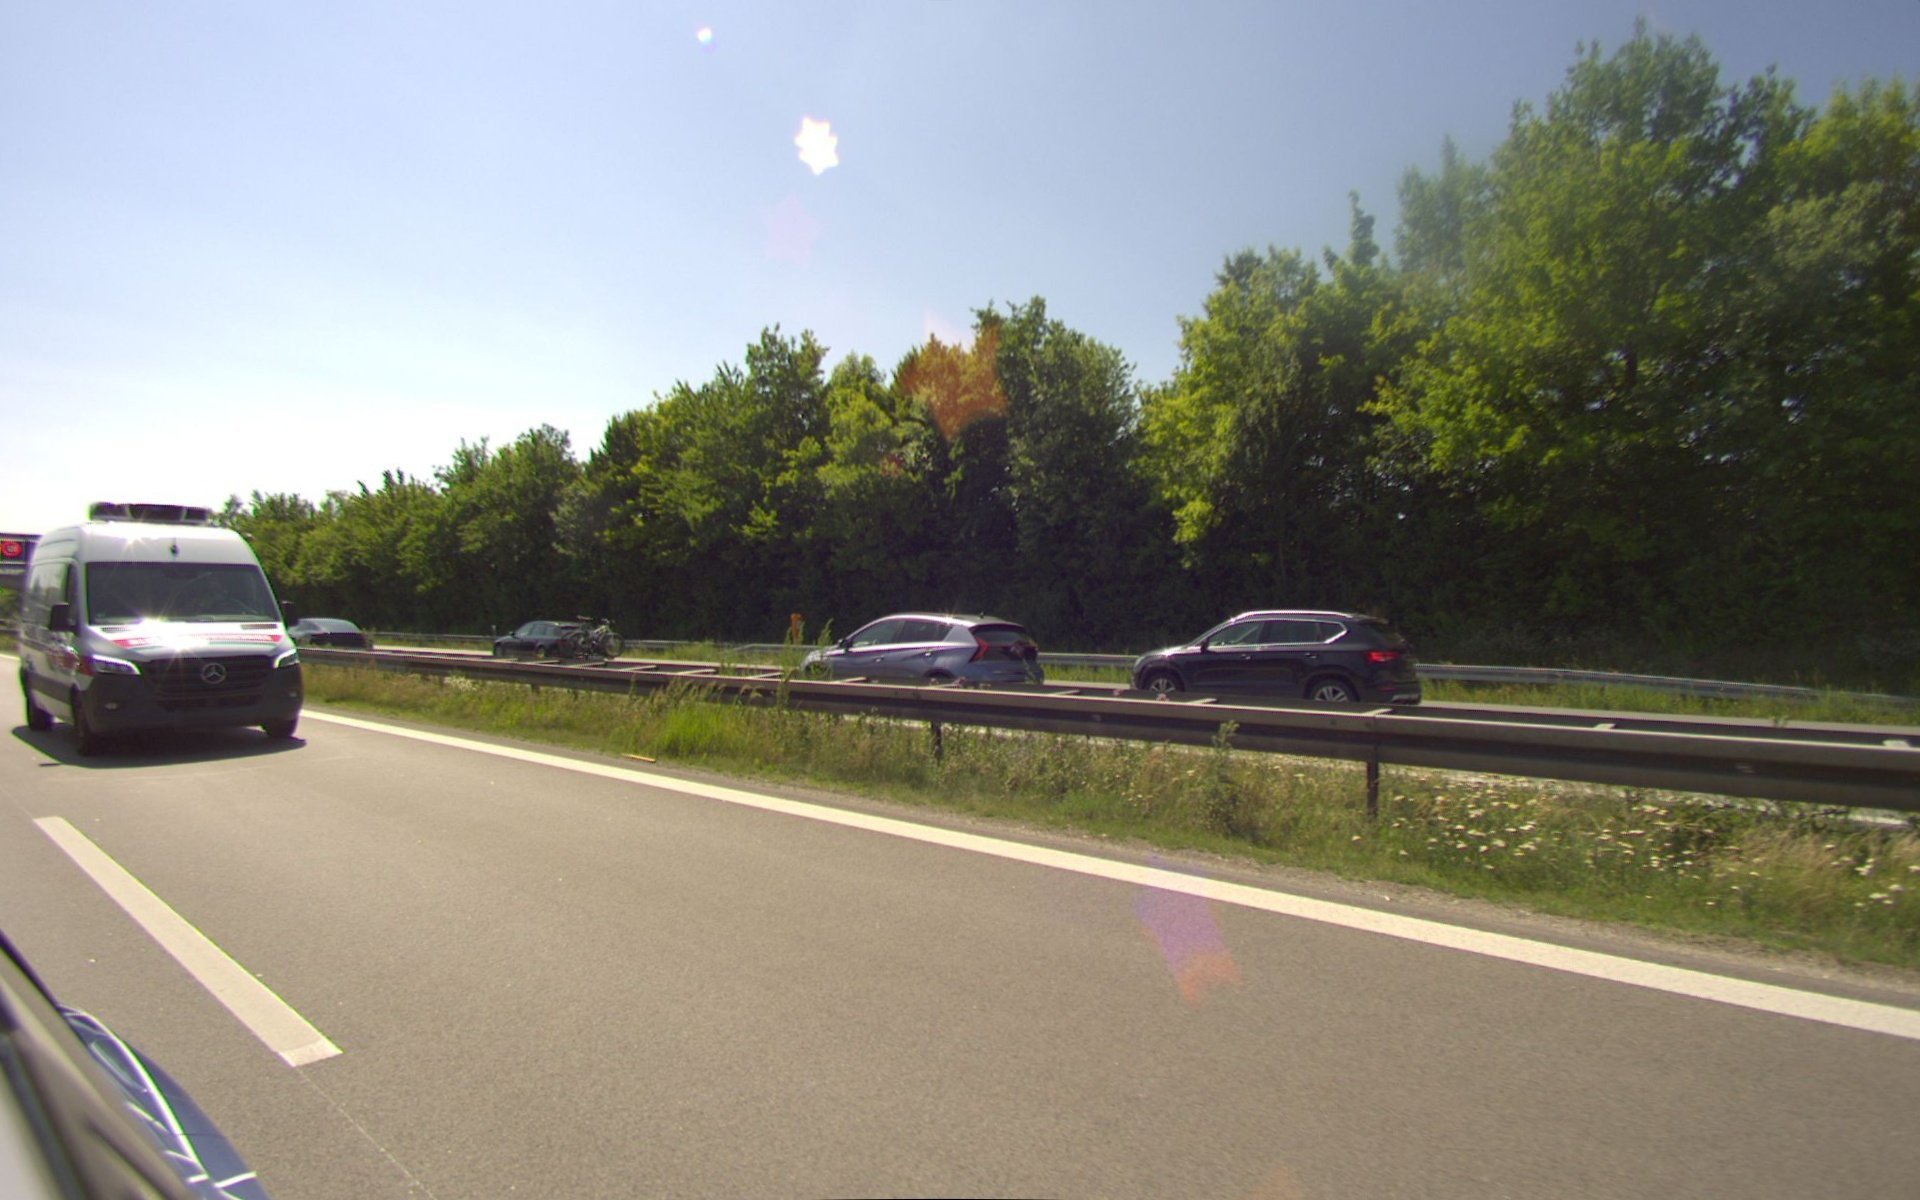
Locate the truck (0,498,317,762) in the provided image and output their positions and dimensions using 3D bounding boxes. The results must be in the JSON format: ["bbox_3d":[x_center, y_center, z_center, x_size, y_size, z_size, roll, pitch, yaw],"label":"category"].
[{"bbox_3d":[-10.390,0.335,12.739,6.687,2.561,1.973,-1,0,40],"label":"truck"}]

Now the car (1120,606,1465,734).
[{"bbox_3d":[4.900,0.957,15.312,4.572,1.642,1.973,-1,-2,41],"label":"car"}]

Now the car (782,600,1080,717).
[{"bbox_3d":[-0.542,0.803,15.110,4.345,1.494,1.933,-1,-2,43],"label":"car"}]

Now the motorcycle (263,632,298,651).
[{"bbox_3d":[-38.066,2.313,56.670,2.653,1.025,0.925,-1,-2,40],"label":"motorcycle"}]

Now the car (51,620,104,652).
[{"bbox_3d":[-54.672,2.226,62.694,5.014,1.896,1.673,-1,-2,40],"label":"car"}]

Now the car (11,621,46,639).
[{"bbox_3d":[-86.748,2.796,94.217,4.554,1.597,1.848,-1,-2,40],"label":"car"}]

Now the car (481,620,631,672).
[{"bbox_3d":[-12.656,1.376,31.493,5.620,1.486,1.973,-1,-2,41],"label":"car"}]

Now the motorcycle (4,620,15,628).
[{"bbox_3d":[-119.202,2.987,126.882,2.220,0.953,0.797,-1,-1,41],"label":"motorcycle"}]

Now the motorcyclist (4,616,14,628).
[{"bbox_3d":[-119.106,2.764,126.793,0.931,1.511,0.797,-1,-2,40],"label":"motorcyclist"}]

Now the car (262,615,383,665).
[{"bbox_3d":[-20.523,1.260,32.488,4.828,1.486,1.973,-1,-2,41],"label":"car"}]

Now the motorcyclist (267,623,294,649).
[{"bbox_3d":[-38.014,2.007,56.610,1.355,1.455,0.931,-1,-2,40],"label":"motorcyclist"}]
